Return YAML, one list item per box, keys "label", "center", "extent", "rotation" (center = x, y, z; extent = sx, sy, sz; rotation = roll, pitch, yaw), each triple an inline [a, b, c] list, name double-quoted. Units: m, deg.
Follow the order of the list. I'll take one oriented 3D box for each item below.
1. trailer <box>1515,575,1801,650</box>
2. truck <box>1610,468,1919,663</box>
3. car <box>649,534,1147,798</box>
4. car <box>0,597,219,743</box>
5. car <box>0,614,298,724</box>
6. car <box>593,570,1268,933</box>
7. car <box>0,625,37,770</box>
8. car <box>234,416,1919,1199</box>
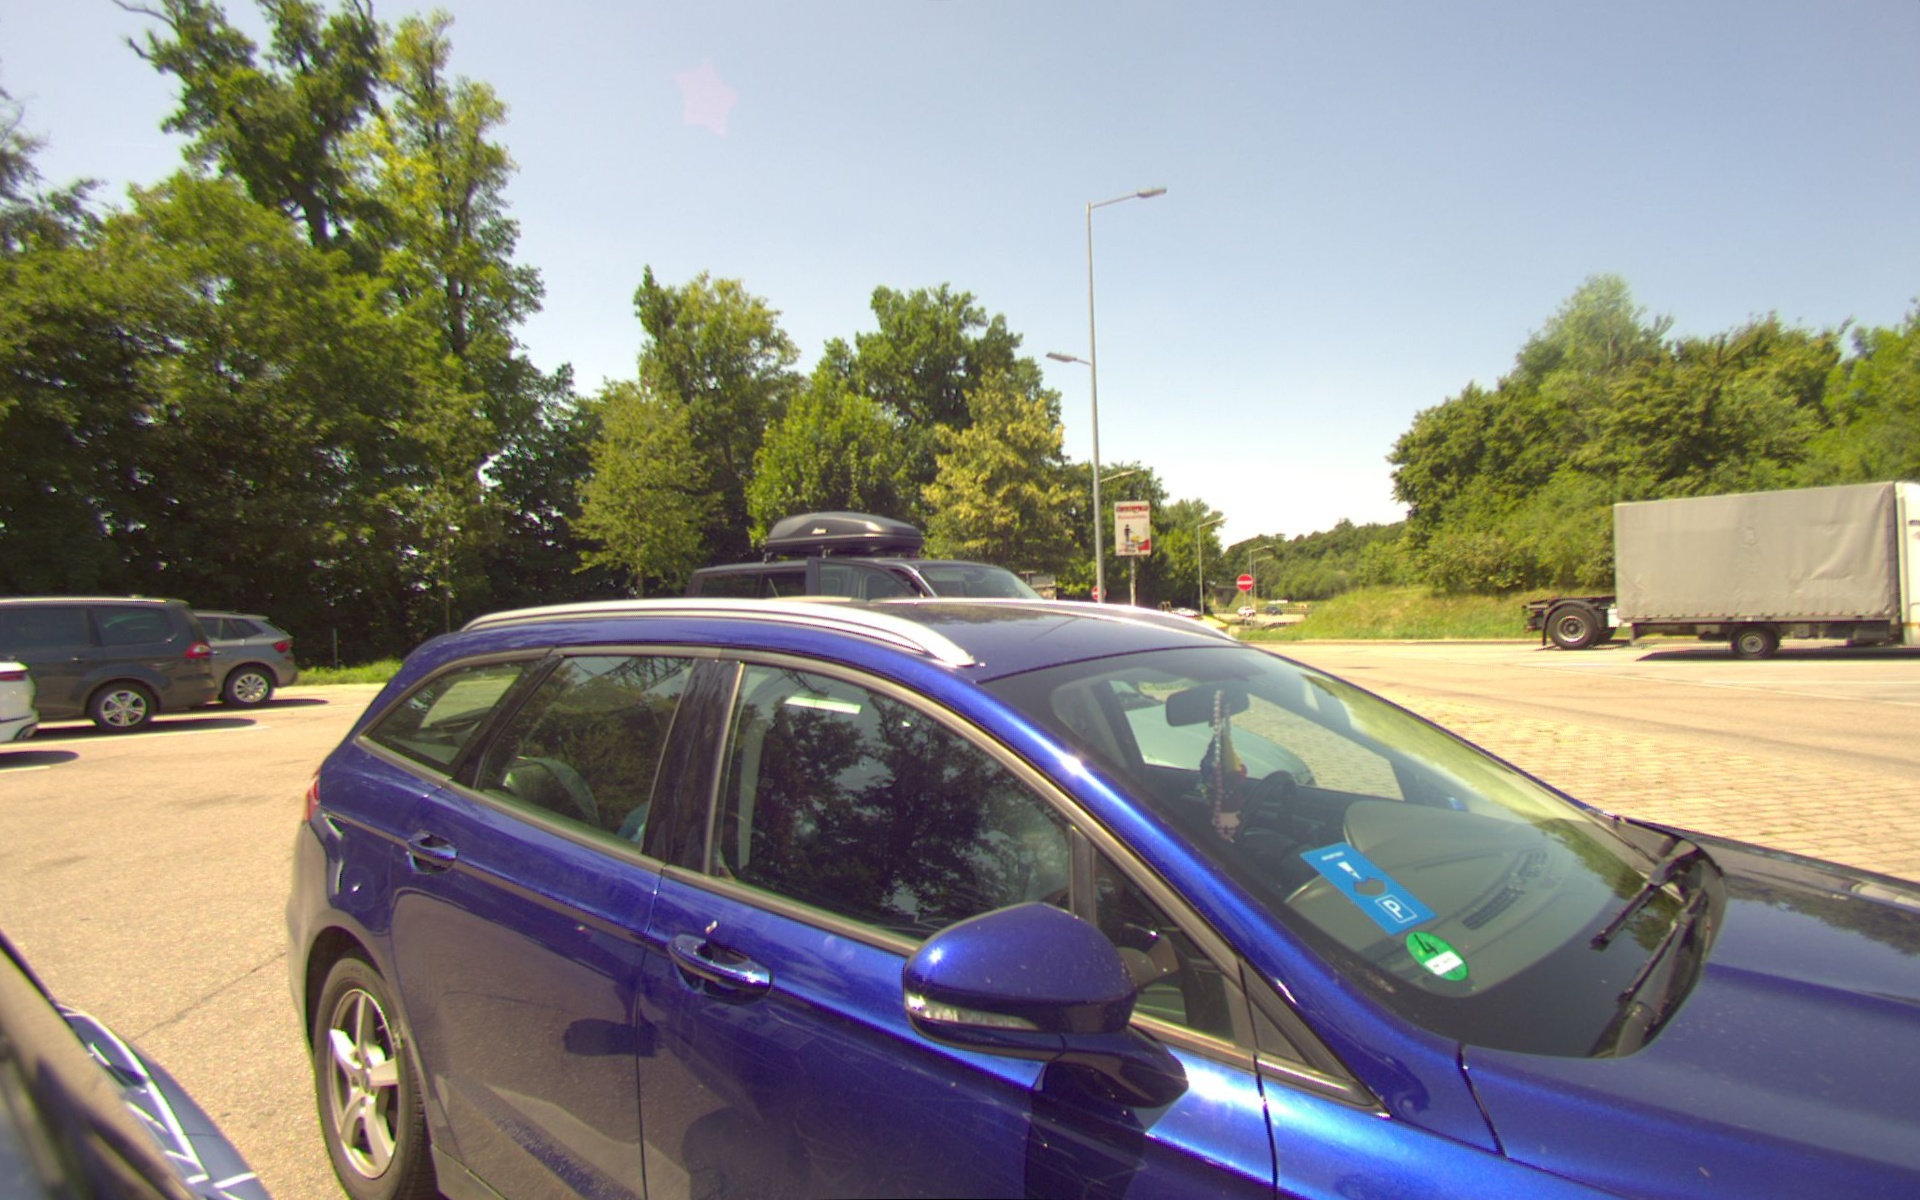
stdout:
- label: "trailer"
  center: [16.324, 0.349, 23.914]
  extent: [5.393, 1.608, 1.576]
  rotation: [-2, -1, 41]
- label: "truck"
  center: [16.704, -0.616, 18.842]
  extent: [7.308, 3.258, 2.294]
  rotation: [-5, -2, 43]
- label: "car"
  center: [-0.737, 0.534, 9.412]
  extent: [4.426, 1.875, 2.022]
  rotation: [-2, -1, 40]
- label: "car"
  center: [-11.719, 0.836, 12.581]
  extent: [3.830, 1.703, 1.883]
  rotation: [0, -2, -45]
- label: "car"
  center: [-12.615, 0.974, 15.620]
  extent: [3.753, 1.488, 1.743]
  rotation: [0, -1, -45]
- label: "car"
  center: [-0.370, 0.649, 5.801]
  extent: [3.739, 1.424, 1.587]
  rotation: [-2, -1, 40]
- label: "car"
  center: [-10.965, 0.943, 9.192]
  extent: [3.753, 1.377, 1.804]
  rotation: [0, -1, -45]
- label: "car"
  center: [0.235, 0.649, 2.080]
  extent: [4.427, 1.455, 1.763]
  rotation: [-2, -1, 40]
